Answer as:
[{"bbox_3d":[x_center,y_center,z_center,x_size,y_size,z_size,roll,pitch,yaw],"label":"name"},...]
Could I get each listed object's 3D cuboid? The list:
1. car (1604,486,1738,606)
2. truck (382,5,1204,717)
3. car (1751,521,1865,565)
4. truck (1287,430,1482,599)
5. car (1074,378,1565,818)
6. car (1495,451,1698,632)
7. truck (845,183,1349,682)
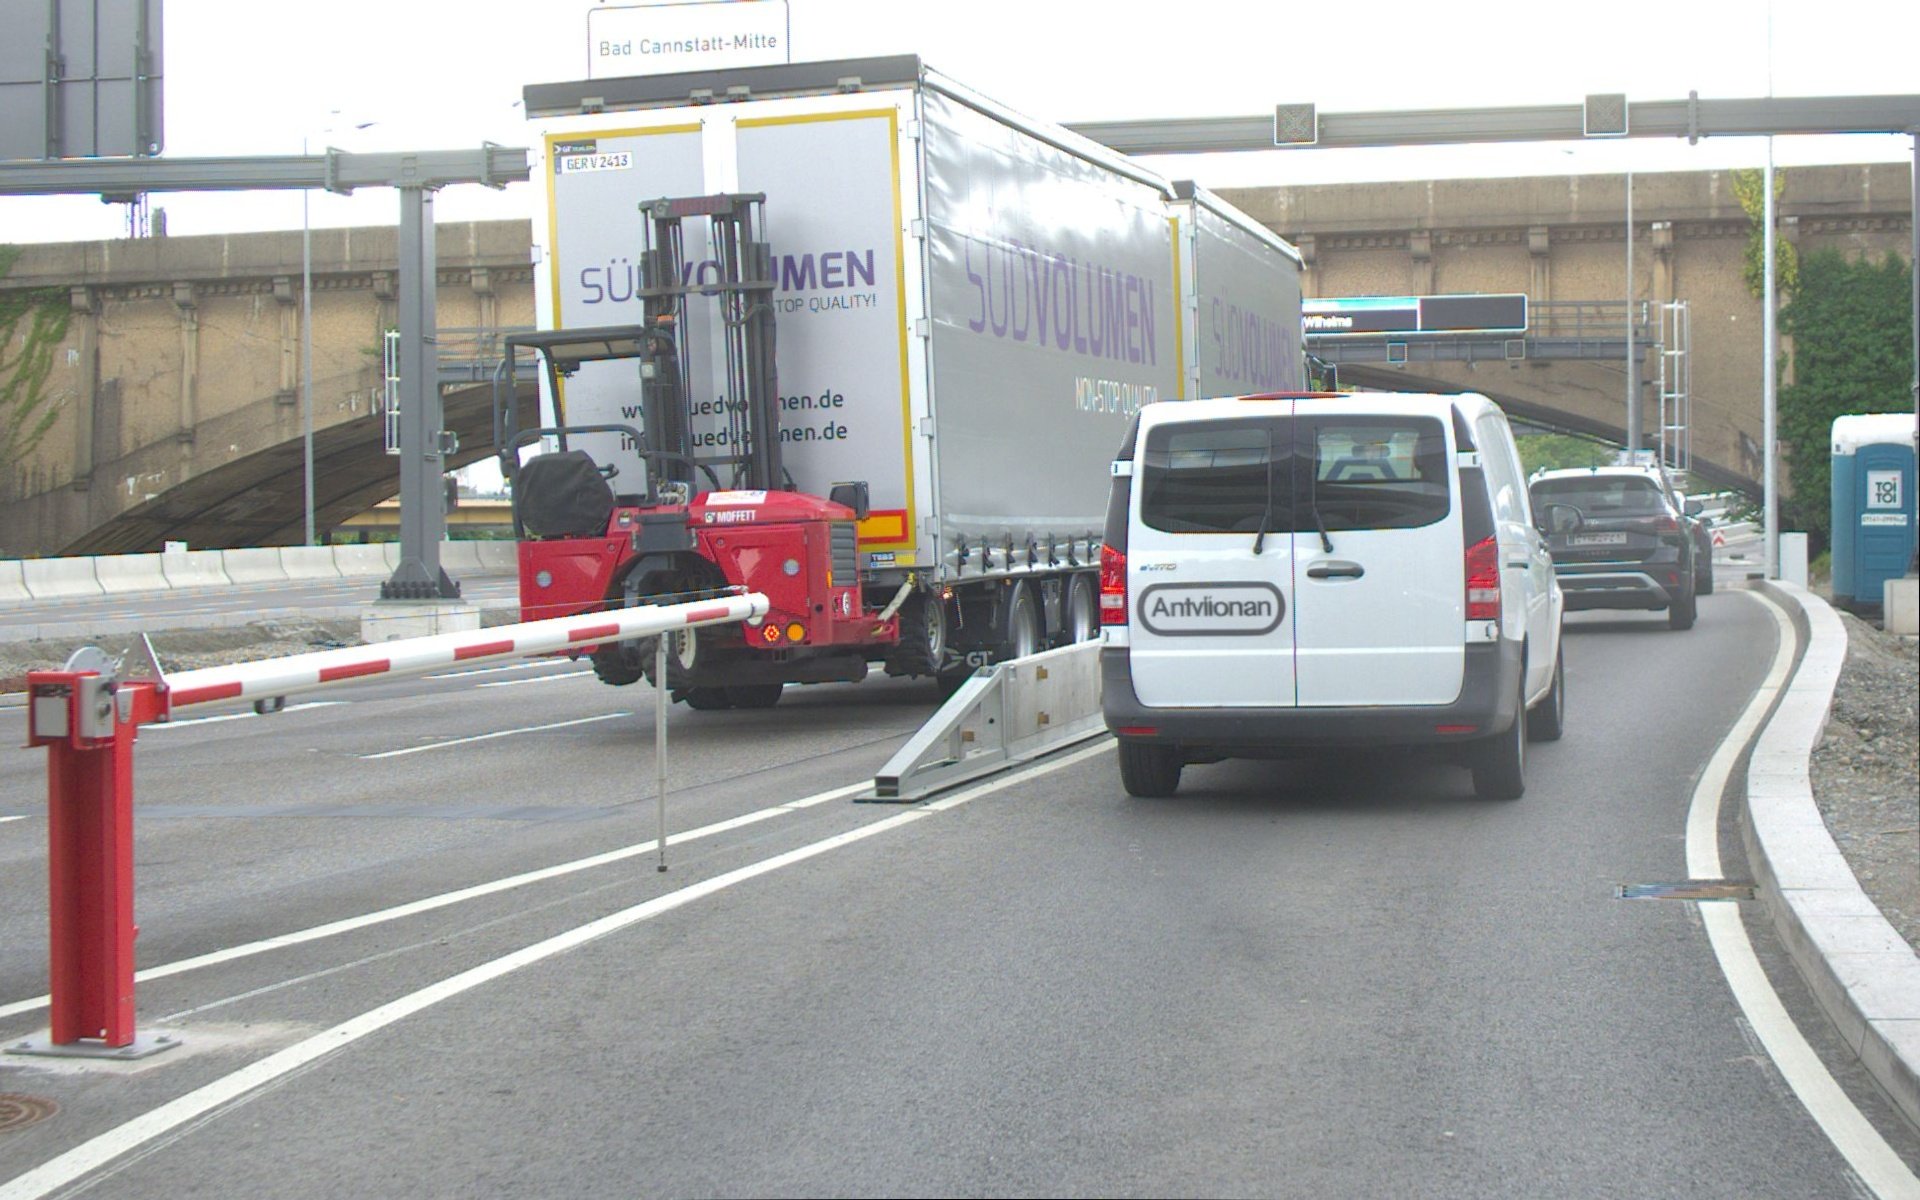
[{"bbox_3d":[9.477,-0.691,45.703,1.502,1.464,3.396,0,-1,16],"label":"car"},{"bbox_3d":[-0.653,-1.363,24.647,2.919,4.003,10.193,1,0,15],"label":"truck"},{"bbox_3d":[37.162,-2.485,150.600,4.469,1.803,1.904,1,-1,-16],"label":"car"},{"bbox_3d":[10.892,-2.160,86.403,3.318,3.796,16.585,2,2,12],"label":"truck"},{"bbox_3d":[1.957,-0.112,17.250,1.877,1.884,4.751,0,3,13],"label":"car"},{"bbox_3d":[6.184,-0.569,33.148,1.750,1.619,3.842,-1,1,13],"label":"car"},{"bbox_3d":[1.754,-1.336,34.496,2.989,4.162,11.233,1,-1,13],"label":"truck"}]
